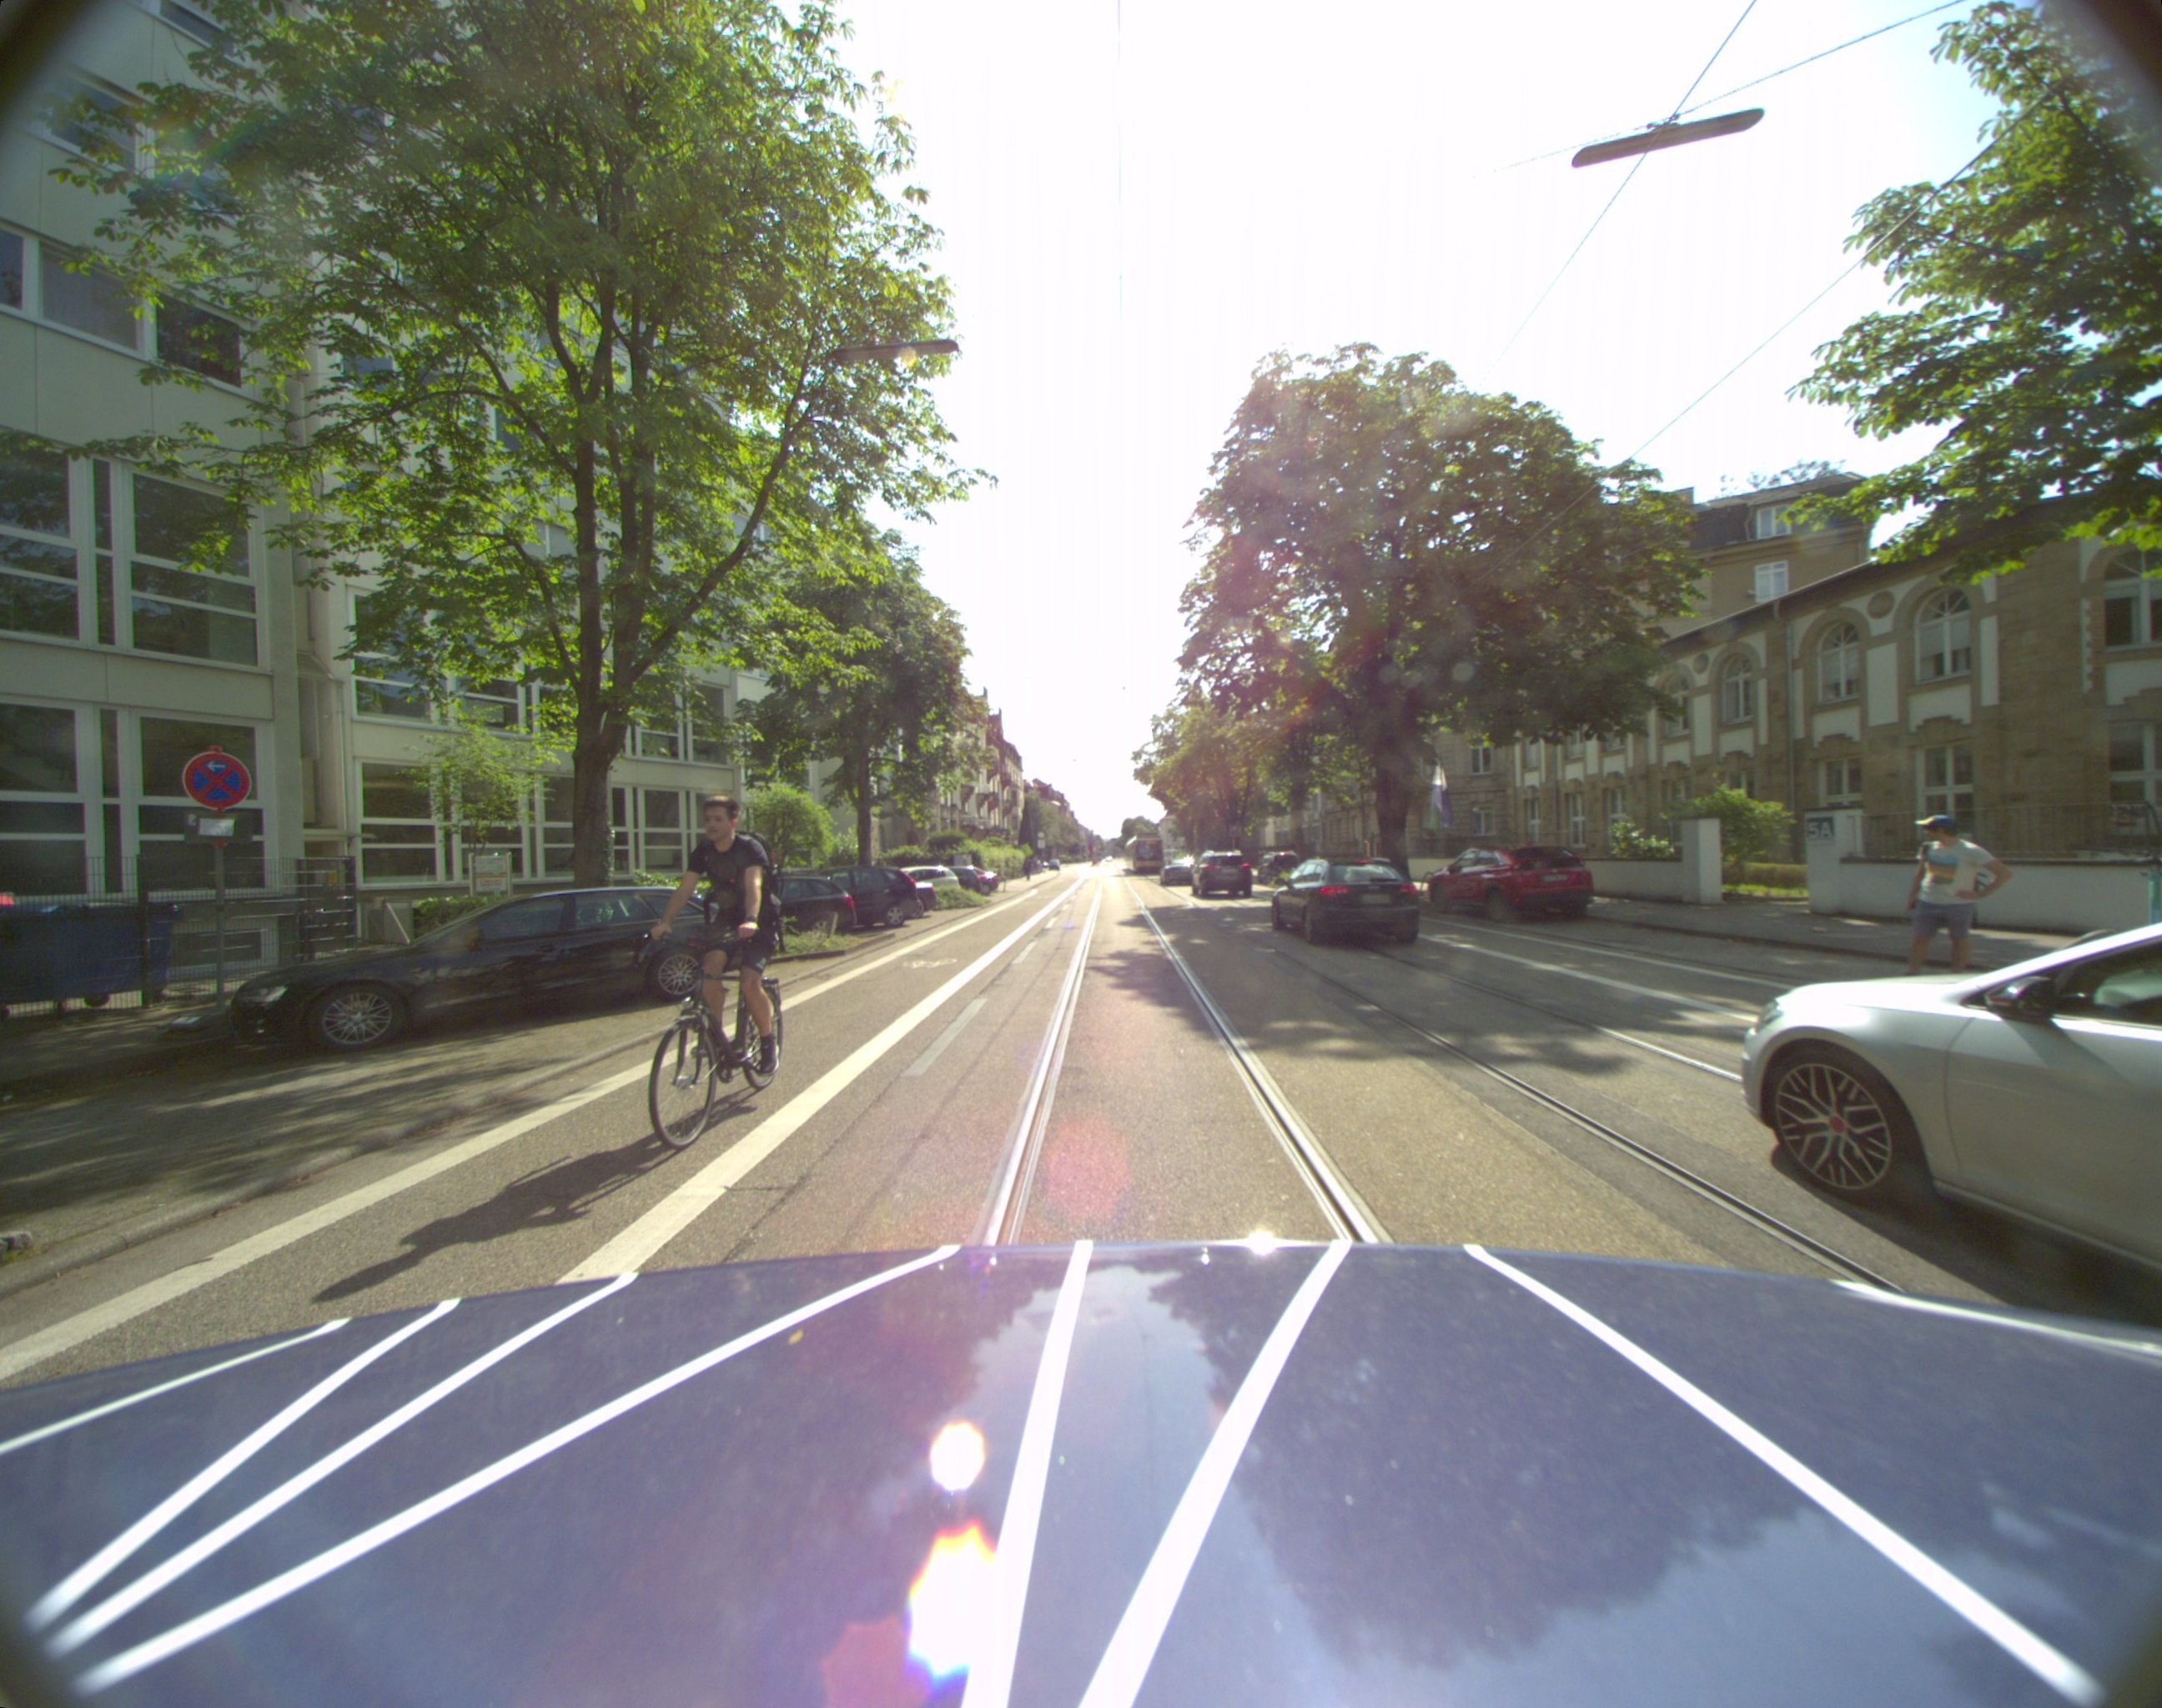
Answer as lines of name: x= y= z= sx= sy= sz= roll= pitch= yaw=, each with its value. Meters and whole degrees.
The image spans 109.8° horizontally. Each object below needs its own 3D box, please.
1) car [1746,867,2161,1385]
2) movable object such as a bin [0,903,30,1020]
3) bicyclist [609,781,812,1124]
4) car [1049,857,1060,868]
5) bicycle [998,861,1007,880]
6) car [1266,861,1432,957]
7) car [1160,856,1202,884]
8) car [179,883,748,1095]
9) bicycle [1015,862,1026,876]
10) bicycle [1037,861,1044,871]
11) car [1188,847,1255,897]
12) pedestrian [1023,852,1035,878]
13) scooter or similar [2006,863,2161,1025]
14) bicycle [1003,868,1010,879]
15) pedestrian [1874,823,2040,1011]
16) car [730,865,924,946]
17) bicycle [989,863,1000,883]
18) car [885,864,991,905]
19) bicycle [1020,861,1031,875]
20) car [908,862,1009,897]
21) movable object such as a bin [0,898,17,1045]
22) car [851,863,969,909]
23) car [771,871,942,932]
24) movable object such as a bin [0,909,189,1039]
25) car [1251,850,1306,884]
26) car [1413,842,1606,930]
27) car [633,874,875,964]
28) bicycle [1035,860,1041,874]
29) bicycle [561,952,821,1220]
car: x=3.928 y=0.794 z=1.601 sx=1.777 sy=1.408 sz=3.852 roll=-1 pitch=1 yaw=2
movable object such as a bin: x=-14.493 y=1.379 z=9.518 sx=1.376 sy=1.439 sz=1.266 roll=0 pitch=1 yaw=23
bicyclist: x=-2.312 y=0.564 z=4.902 sx=0.608 sy=1.937 sz=1.130 roll=-3 pitch=1 yaw=2
car: x=-3.597 y=1.111 z=103.454 sx=1.517 sy=1.490 sz=2.794 roll=1 pitch=0 yaw=0
bicycle: x=-4.964 y=1.045 z=48.077 sx=0.280 sy=1.102 sz=2.011 roll=2 pitch=1 yaw=2
car: x=4.587 y=0.866 z=13.627 sx=1.727 sy=1.368 sz=4.000 roll=-1 pitch=0 yaw=3
car: x=5.211 y=0.803 z=40.098 sx=1.803 sy=1.380 sz=4.426 roll=0 pitch=0 yaw=2
car: x=-6.546 y=1.231 z=8.668 sx=4.544 sy=1.434 sz=2.026 roll=-4 pitch=1 yaw=-43
bicycle: x=-4.509 y=1.086 z=56.896 sx=0.614 sy=0.983 sz=1.872 roll=1 pitch=1 yaw=1
bicycle: x=-4.024 y=1.207 z=75.480 sx=0.600 sy=0.955 sz=3.066 roll=2 pitch=0 yaw=-1
car: x=5.194 y=0.669 z=28.554 sx=1.830 sy=1.717 sz=4.392 roll=-1 pitch=-1 yaw=2
pedestrian: x=-3.681 y=0.759 z=53.774 sx=0.790 sy=1.851 sz=0.580 roll=1 pitch=1 yaw=-5
scooter or similar: x=9.499 y=0.766 z=6.807 sx=1.342 sy=1.272 sz=0.855 roll=-3 pitch=1 yaw=1
bicycle: x=-4.899 y=1.270 z=49.991 sx=0.280 sy=0.673 sz=1.559 roll=2 pitch=1 yaw=2
pedestrian: x=8.804 y=0.604 z=7.666 sx=0.790 sy=1.756 sz=0.752 roll=-3 pitch=1 yaw=-7
car: x=-6.143 y=1.176 z=18.605 sx=4.007 sy=1.565 sz=1.900 roll=-3 pitch=0 yaw=-40
bicycle: x=-5.073 y=1.077 z=44.560 sx=0.280 sy=1.102 sz=2.011 roll=2 pitch=1 yaw=2
car: x=-5.905 y=1.220 z=31.650 sx=4.007 sy=1.440 sz=1.695 roll=-2 pitch=0 yaw=-40
bicycle: x=-4.353 y=1.086 z=59.292 sx=0.612 sy=0.990 sz=2.362 roll=1 pitch=1 yaw=1
car: x=-5.573 y=1.123 z=34.813 sx=4.168 sy=1.415 sz=1.861 roll=-1 pitch=0 yaw=-40
movable object such as a bin: x=-11.971 y=1.259 z=7.321 sx=1.278 sy=1.530 sz=1.469 roll=-2 pitch=1 yaw=2
car: x=-6.304 y=1.136 z=28.270 sx=4.008 sy=1.452 sz=1.531 roll=-2 pitch=0 yaw=-43
car: x=-6.285 y=1.285 z=21.551 sx=4.183 sy=1.341 sz=1.900 roll=-3 pitch=0 yaw=-43
movable object such as a bin: x=-12.036 y=1.382 z=9.007 sx=1.278 sy=1.311 sz=1.326 roll=-2 pitch=1 yaw=2
car: x=10.473 y=0.661 z=40.649 sx=1.811 sy=1.631 sz=4.332 roll=-3 pitch=1 yaw=1
car: x=9.531 y=0.611 z=17.430 sx=1.754 sy=1.656 sz=4.720 roll=-3 pitch=0 yaw=1
car: x=-6.447 y=1.212 z=15.241 sx=4.084 sy=1.434 sz=1.722 roll=-1 pitch=-2 yaw=-42
bicycle: x=-3.985 y=1.169 z=70.427 sx=0.452 sy=1.253 sz=1.844 roll=1 pitch=0 yaw=-1
bicycle: x=-2.286 y=1.291 z=4.747 sx=0.617 sy=1.039 sz=1.835 roll=2 pitch=2 yaw=2
